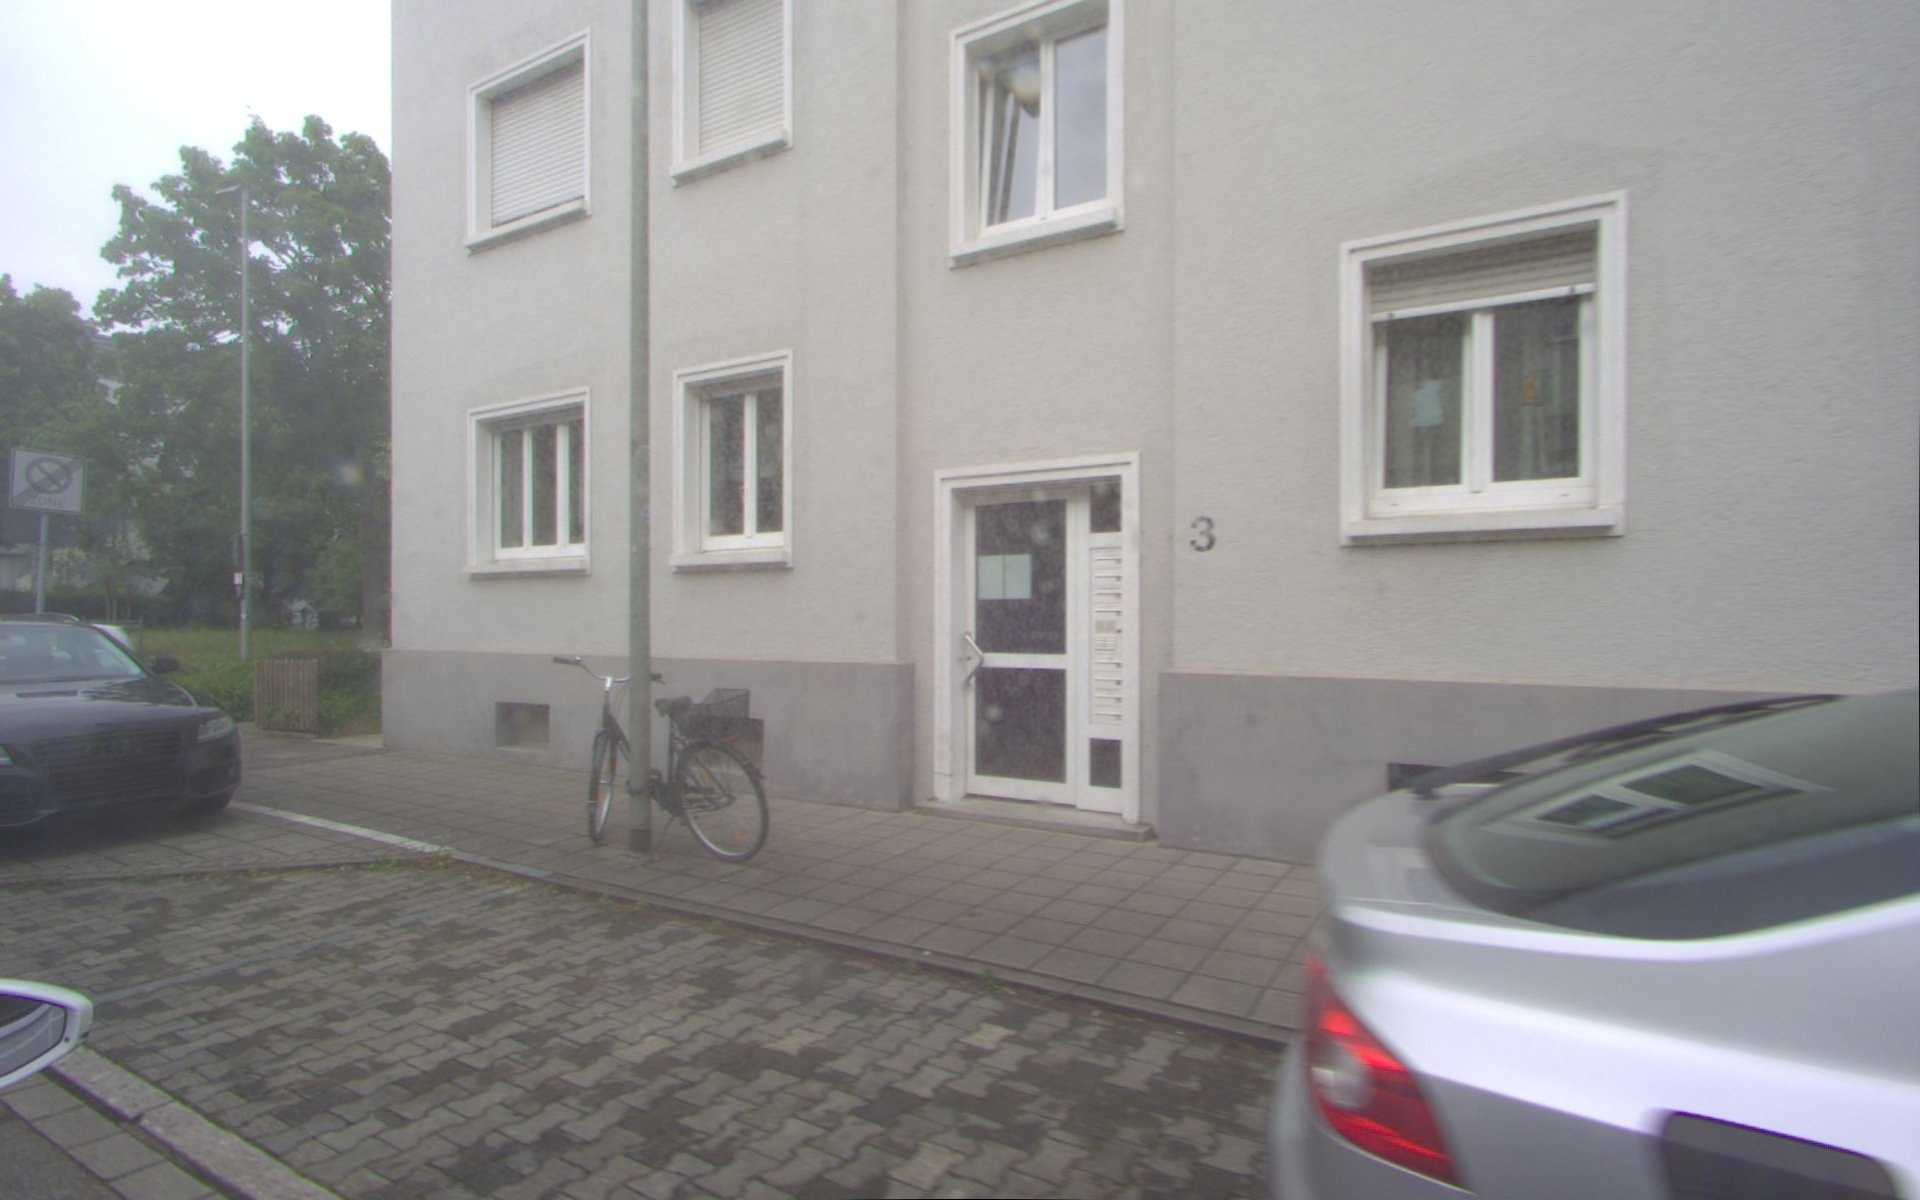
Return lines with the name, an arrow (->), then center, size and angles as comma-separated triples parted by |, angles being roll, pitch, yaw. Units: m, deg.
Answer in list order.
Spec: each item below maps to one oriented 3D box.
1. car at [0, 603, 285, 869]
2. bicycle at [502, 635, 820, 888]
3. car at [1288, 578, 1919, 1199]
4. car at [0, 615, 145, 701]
car -> -7.073, 0.766, 7.221 | 4.655, 1.482, 1.857 | 0, 0, 31
bicycle -> -1.787, 0.850, 5.896 | 1.868, 1.217, 0.747 | 0, 2, 32
car -> 2.684, 0.730, 0.789 | 4.364, 1.482, 1.730 | 0, 0, 31
car -> -17.017, 1.010, 17.871 | 1.544, 1.455, 3.528 | 0, -1, 30
